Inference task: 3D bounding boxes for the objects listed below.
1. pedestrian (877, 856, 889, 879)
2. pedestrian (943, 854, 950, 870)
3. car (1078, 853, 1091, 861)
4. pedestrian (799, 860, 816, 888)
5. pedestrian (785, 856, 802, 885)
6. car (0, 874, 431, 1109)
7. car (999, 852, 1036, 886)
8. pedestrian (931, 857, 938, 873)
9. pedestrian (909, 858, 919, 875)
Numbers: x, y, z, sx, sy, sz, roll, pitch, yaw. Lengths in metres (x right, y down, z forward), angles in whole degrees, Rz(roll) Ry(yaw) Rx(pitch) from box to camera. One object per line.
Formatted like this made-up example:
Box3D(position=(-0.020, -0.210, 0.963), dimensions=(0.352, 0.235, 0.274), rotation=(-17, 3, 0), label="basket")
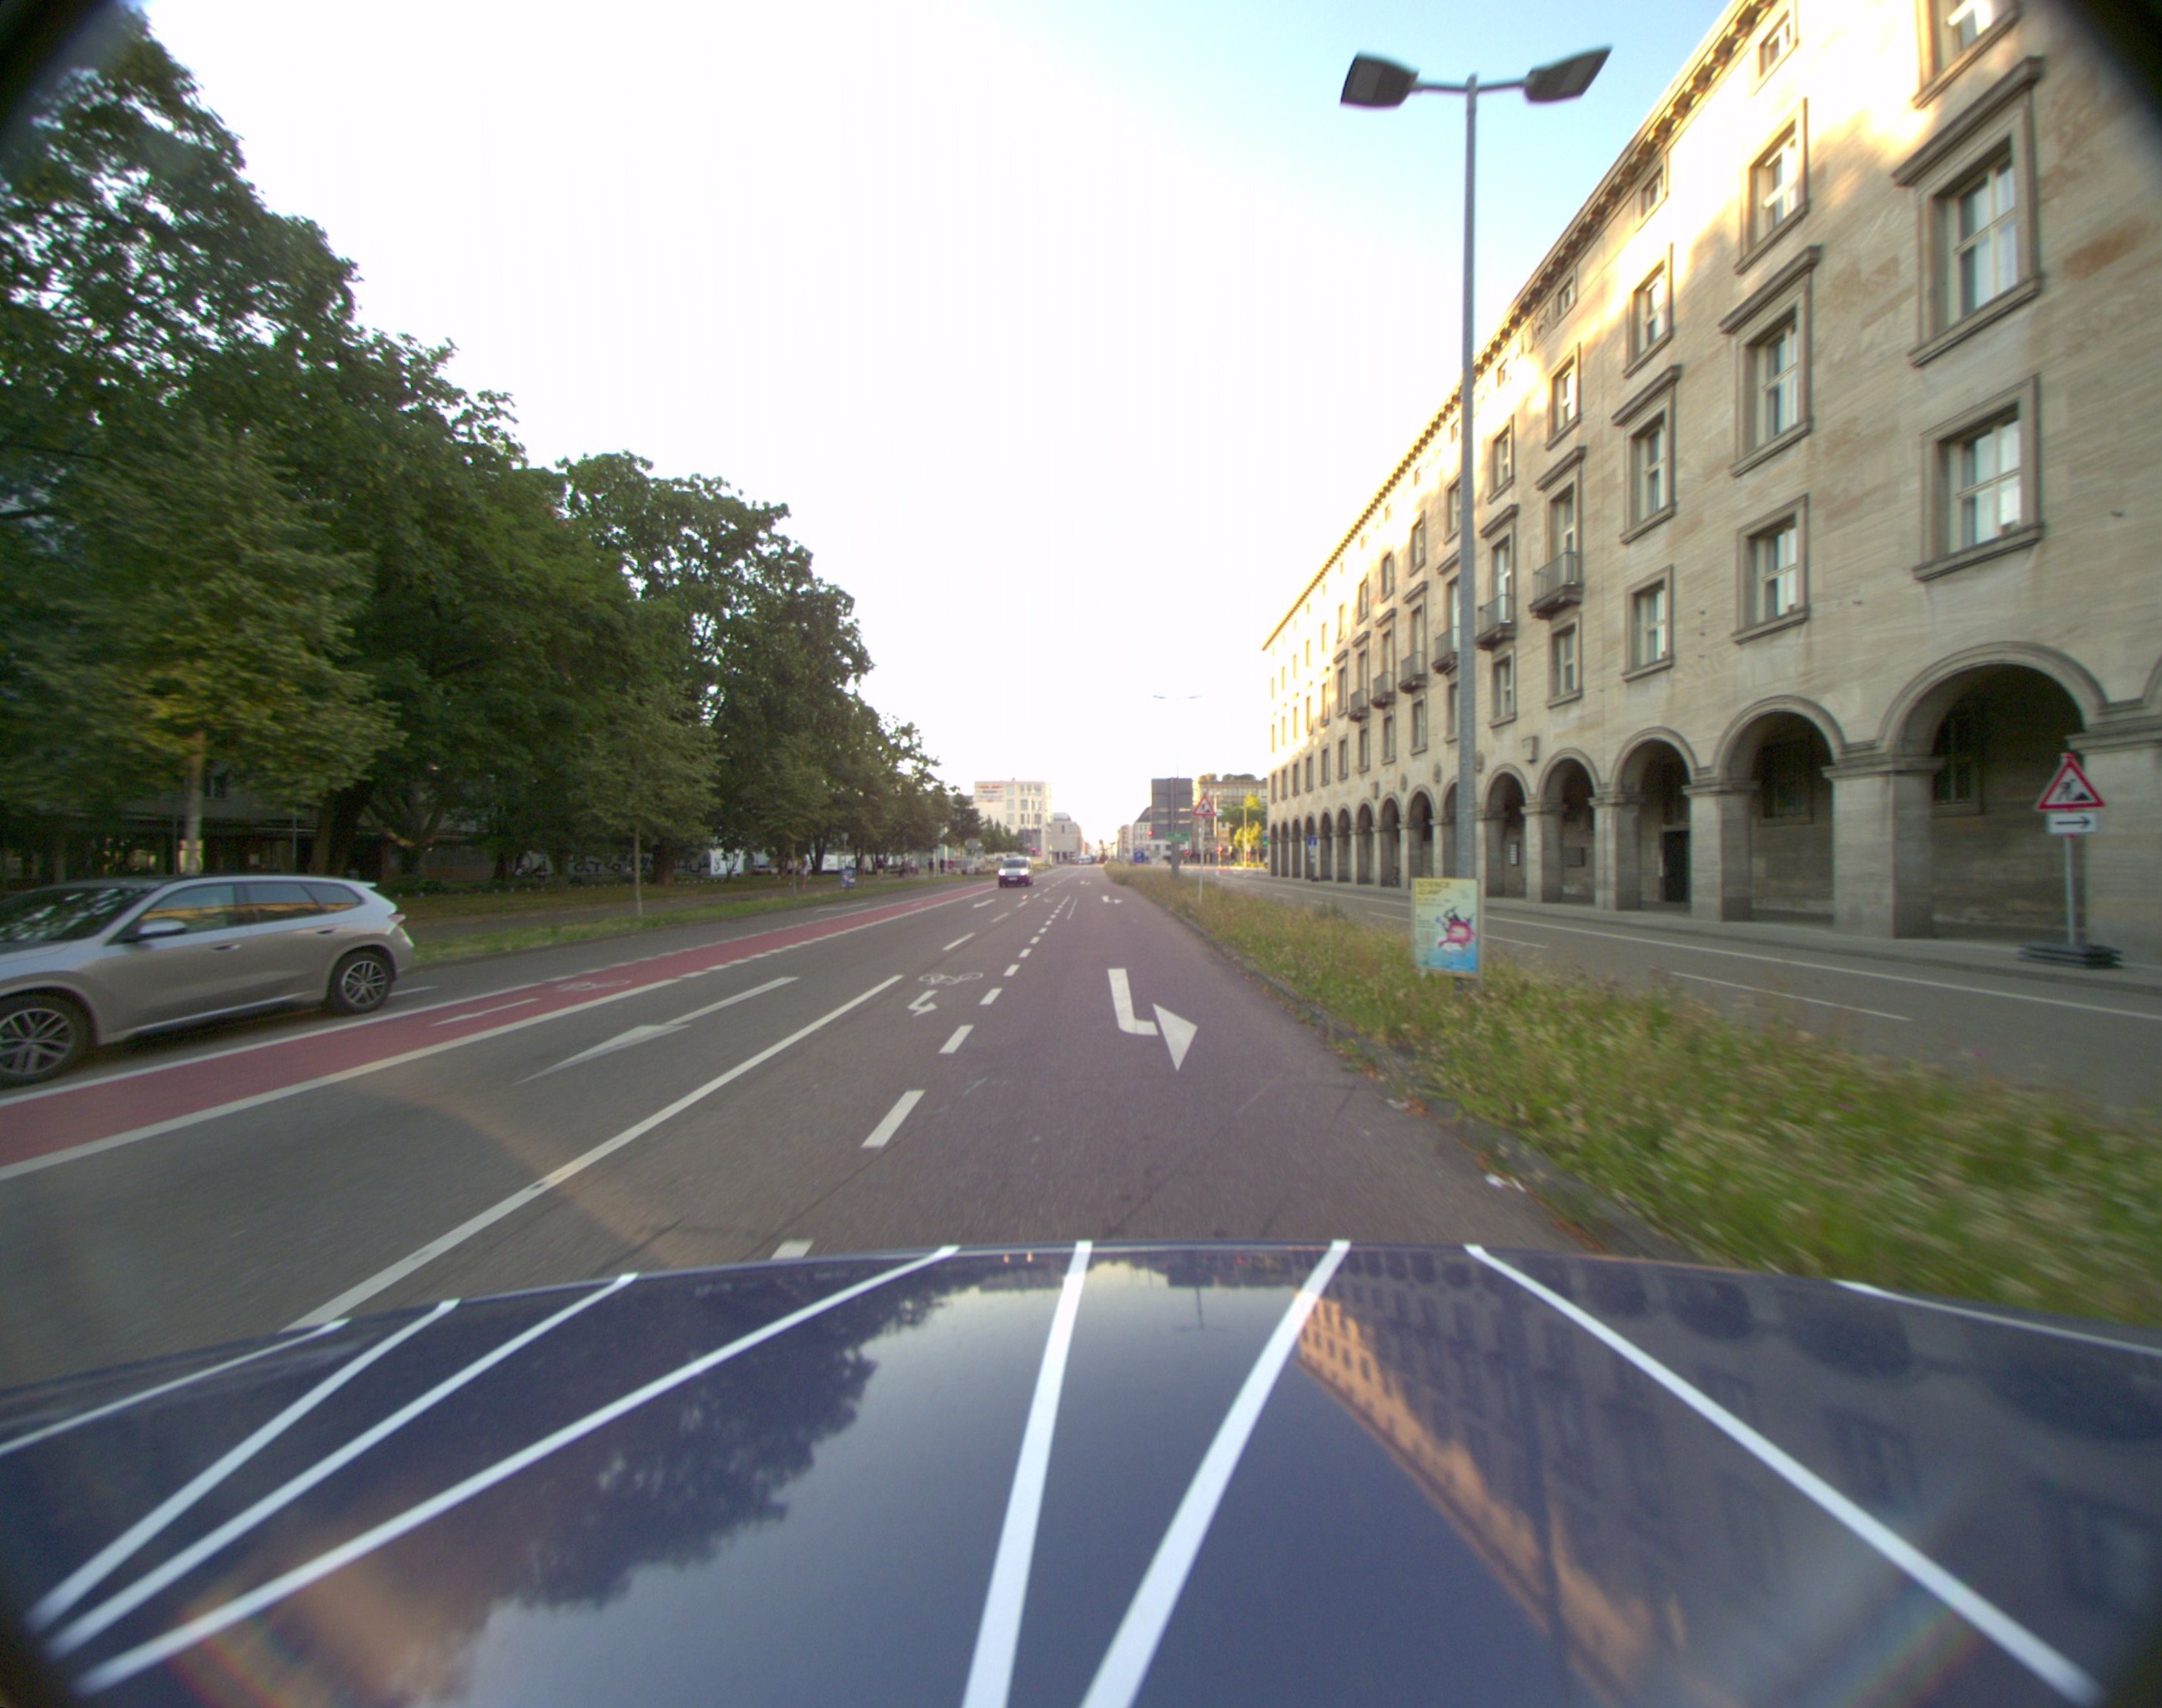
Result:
Box3D(position=(-14.333, 0.972, 55.083), dimensions=(0.631, 1.653, 0.646), rotation=(0, 0, 6), label="pedestrian")
Box3D(position=(-13.589, 0.796, 76.828), dimensions=(0.632, 1.656, 0.645), rotation=(0, 0, -12), label="pedestrian")
Box3D(position=(1.155, 0.806, 221.467), dimensions=(1.995, 2.001, 4.007), rotation=(-5, -2, 27), label="car")
Box3D(position=(-15.105, 1.102, 41.946), dimensions=(0.677, 1.487, 0.646), rotation=(0, 0, 3), label="pedestrian")
Box3D(position=(-15.822, 0.896, 41.845), dimensions=(0.645, 1.585, 0.678), rotation=(0, 0, 4), label="pedestrian")
Box3D(position=(-8.913, 1.068, 7.114), dimensions=(1.885, 1.654, 4.346), rotation=(0, 0, 1), label="car")
Box3D(position=(-3.709, 0.831, 45.217), dimensions=(1.804, 1.900, 4.465), rotation=(0, 0, 0), label="car")
Box3D(position=(-12.779, 0.988, 66.210), dimensions=(0.632, 1.387, 0.645), rotation=(0, 0, -12), label="pedestrian")
Box3D(position=(-13.884, 1.047, 63.255), dimensions=(0.631, 1.455, 0.646), rotation=(0, 0, 3), label="pedestrian")
